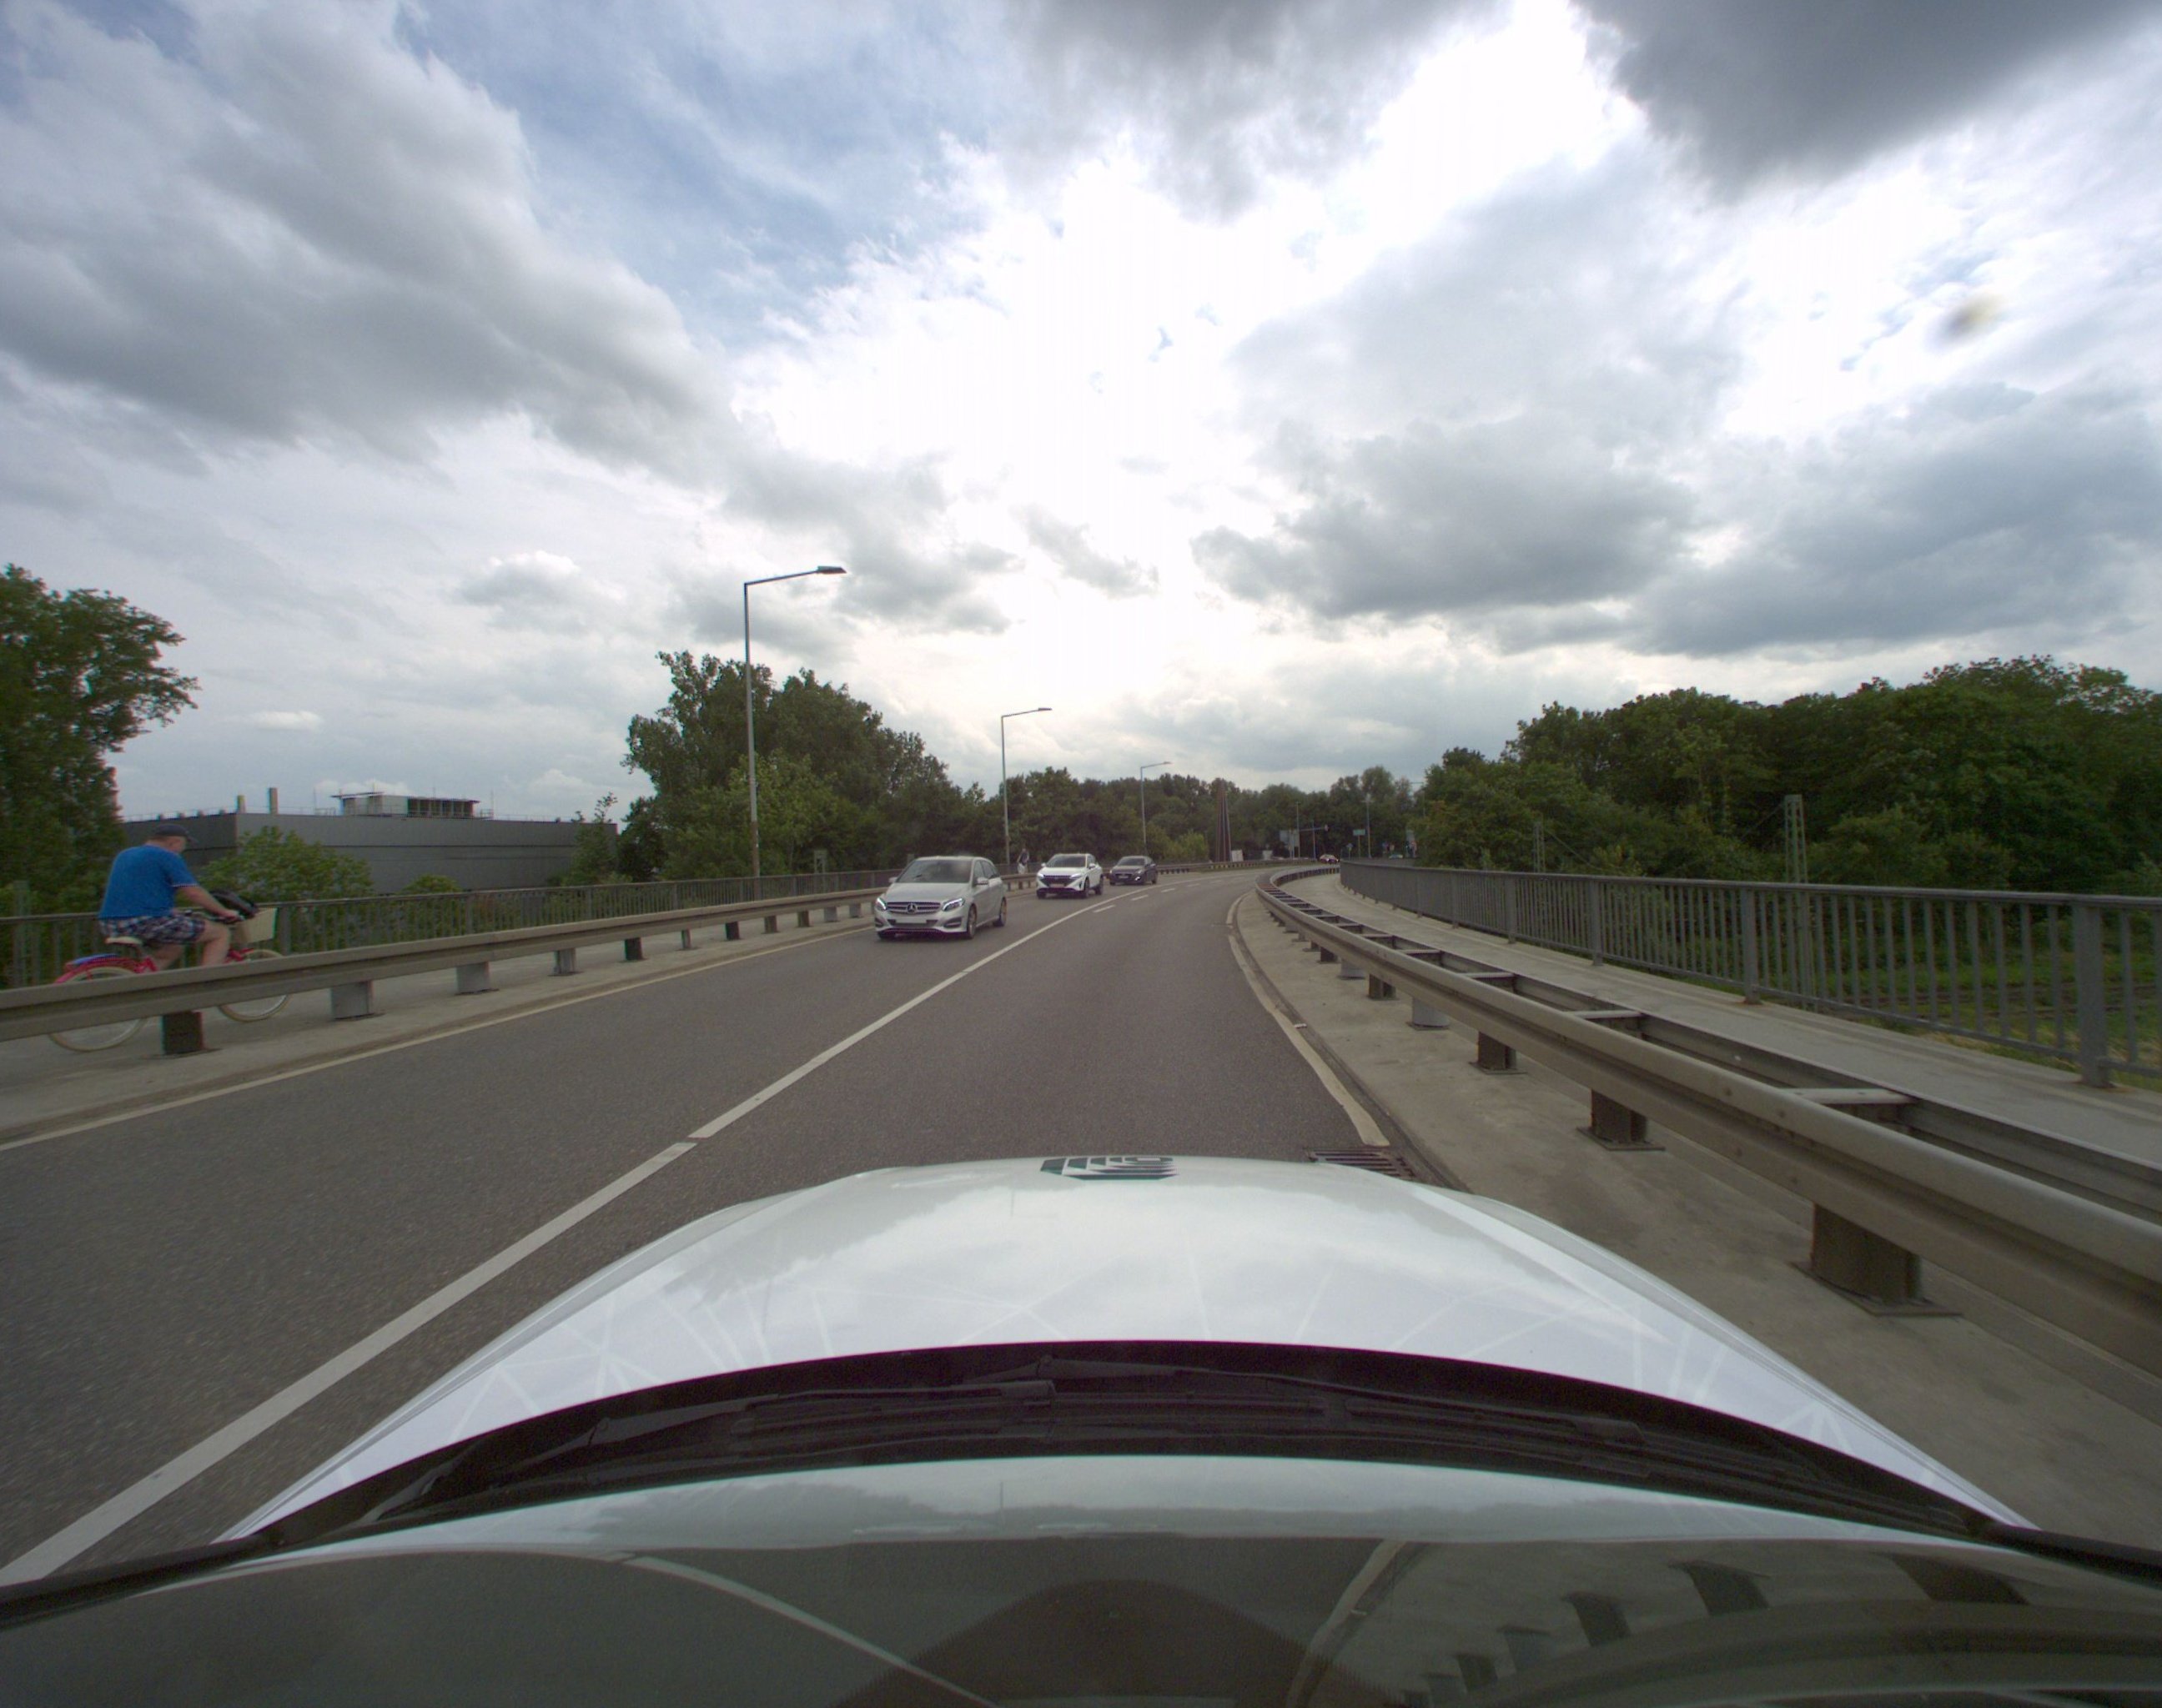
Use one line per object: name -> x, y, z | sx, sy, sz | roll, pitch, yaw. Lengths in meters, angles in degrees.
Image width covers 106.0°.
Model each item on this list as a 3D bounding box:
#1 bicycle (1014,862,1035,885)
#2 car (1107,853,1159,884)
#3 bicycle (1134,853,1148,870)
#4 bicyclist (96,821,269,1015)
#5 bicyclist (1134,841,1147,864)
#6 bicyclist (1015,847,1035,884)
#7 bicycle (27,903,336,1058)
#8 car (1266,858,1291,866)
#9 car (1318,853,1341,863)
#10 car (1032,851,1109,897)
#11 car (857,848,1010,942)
bicycle -> -2.791, 0.952, 40.463 | 0.642, 1.067, 1.765 | -1, 0, 8
car -> 2.727, 0.710, 41.765 | 1.795, 1.477, 4.400 | -1, 0, 15
bicycle -> 4.422, 0.548, 60.221 | 0.630, 1.174, 1.914 | -1, 0, 16
bicyclist -> -7.547, 0.515, 6.874 | 0.607, 1.540, 0.758 | -1, -1, 6
bicyclist -> 4.399, -0.103, 60.190 | 0.765, 1.631, 0.652 | -1, -2, 18
bicyclist -> -2.767, 0.585, 40.509 | 0.844, 1.808, 0.798 | -1, -1, 8
bicycle -> -7.521, 0.993, 6.960 | 0.490, 1.045, 1.813 | -1, 0, 7
car -> 33.734, 1.290, 138.999 | 2.008, 1.310, 3.766 | 0, 0, -34
car -> 36.149, 0.613, 118.494 | 1.790, 1.472, 4.634 | 0, 0, -1
car -> -0.298, 0.693, 30.687 | 1.928, 1.593, 4.789 | -1, 0, 11
car -> -2.742, 0.716, 16.239 | 1.808, 1.620, 4.405 | -1, 0, 6
